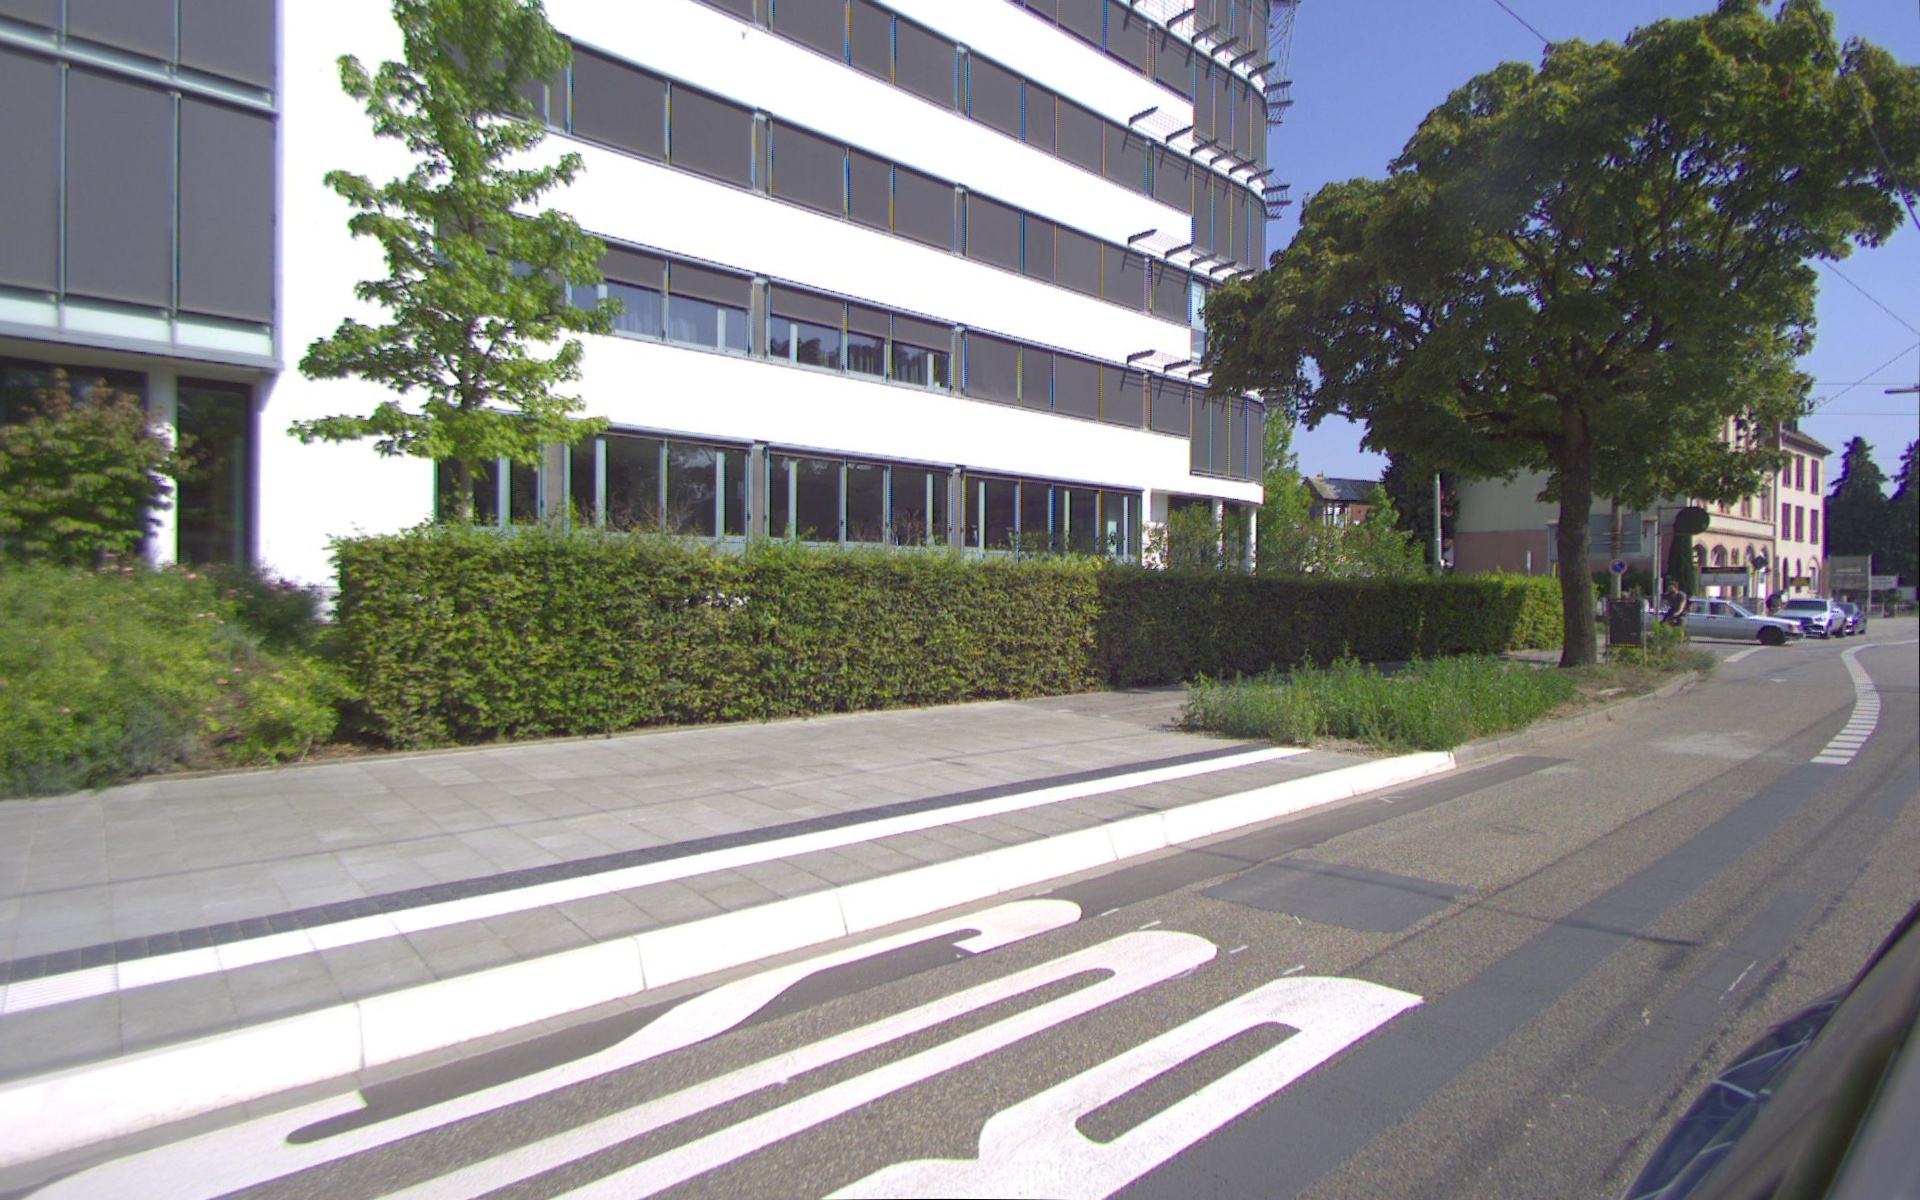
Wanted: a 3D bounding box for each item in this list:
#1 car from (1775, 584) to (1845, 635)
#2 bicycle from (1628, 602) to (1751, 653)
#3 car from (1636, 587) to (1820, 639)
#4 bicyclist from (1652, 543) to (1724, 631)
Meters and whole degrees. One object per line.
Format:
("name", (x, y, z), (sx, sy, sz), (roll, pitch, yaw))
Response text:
("car", (34.898, 0.333, 41.508), (1.955, 1.946, 4.483), (0, 1, 43))
("bicycle", (17.342, 0.632, 24.064), (2.483, 1.139, 1.141), (0, 0, -19))
("car", (24.532, 0.359, 32.426), (4.539, 1.534, 1.930), (0, 1, 44))
("bicyclist", (17.248, -0.316, 23.995), (1.247, 2.039, 0.785), (0, 0, -18))
